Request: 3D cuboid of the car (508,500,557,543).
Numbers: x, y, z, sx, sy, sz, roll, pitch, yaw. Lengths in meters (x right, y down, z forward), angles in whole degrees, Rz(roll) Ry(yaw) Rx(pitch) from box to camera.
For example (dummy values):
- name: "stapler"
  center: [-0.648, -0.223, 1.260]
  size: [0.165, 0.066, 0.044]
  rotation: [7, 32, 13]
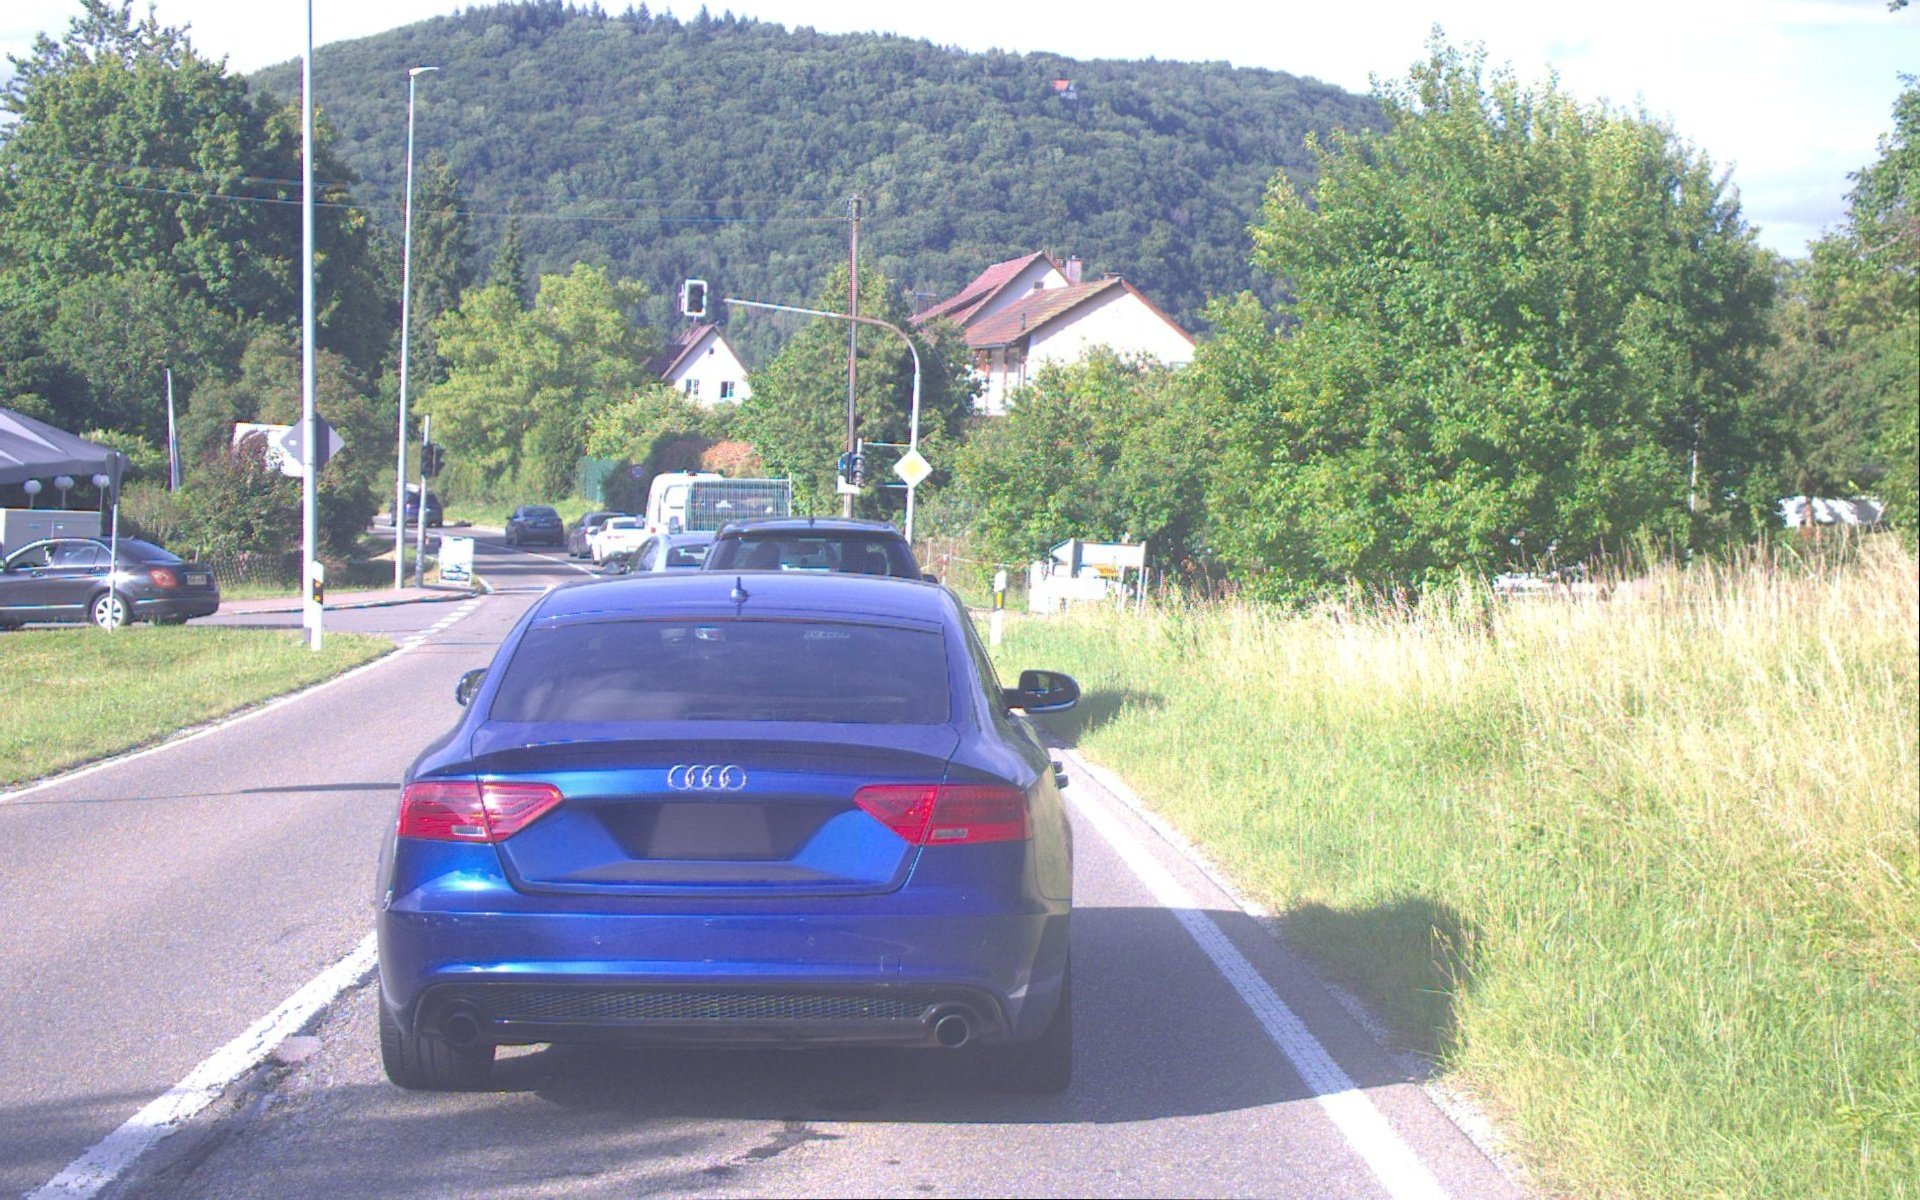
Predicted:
- name: "car"
  center: [-15.637, -2.852, 125.640]
  size: [1.697, 1.485, 3.528]
  rotation: [1, 1, -8]

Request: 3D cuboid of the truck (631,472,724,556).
- name: "truck"
  center: [-6.920, -2.059, 83.792]
  size: [1.697, 1.947, 5.924]
  rotation: [1, 1, -10]

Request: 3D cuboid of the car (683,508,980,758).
- name: "car"
  center: [-0.848, 0.201, 24.970]
  size: [1.746, 1.634, 4.000]
  rotation: [1, 1, 3]

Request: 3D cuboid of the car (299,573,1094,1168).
- name: "car"
  center: [-0.549, 0.618, 10.095]
  size: [1.795, 1.383, 4.000]
  rotation: [0, 0, 3]

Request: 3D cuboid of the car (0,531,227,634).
- name: "car"
  center: [-13.135, -0.278, 50.986]
  size: [3.991, 1.437, 1.918]
  rotation: [1, 1, 20]

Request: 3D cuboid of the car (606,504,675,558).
- name: "car"
  center: [-9.253, -1.976, 99.399]
  size: [1.697, 1.485, 3.528]
  rotation: [1, 1, -10]

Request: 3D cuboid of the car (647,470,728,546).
- name: "car"
  center: [-6.214, -2.061, 78.246]
  size: [1.746, 1.634, 4.001]
  rotation: [1, 1, -5]

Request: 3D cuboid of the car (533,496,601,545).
- name: "car"
  center: [-12.409, -2.482, 108.460]
  size: [1.697, 1.485, 3.528]
  rotation: [1, 1, -14]

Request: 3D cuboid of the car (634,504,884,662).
- name: "car"
  center: [-2.184, -0.198, 38.600]
  size: [1.805, 1.634, 4.461]
  rotation: [1, 1, 10]

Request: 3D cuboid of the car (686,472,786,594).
- name: "car"
  center: [-4.243, -1.248, 64.596]
  size: [1.746, 2.188, 4.001]
  rotation: [1, 0, -5]

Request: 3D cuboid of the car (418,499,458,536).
- name: "car"
  center: [-23.460, -3.700, 154.436]
  size: [1.625, 1.571, 3.680]
  rotation: [1, 1, -11]
